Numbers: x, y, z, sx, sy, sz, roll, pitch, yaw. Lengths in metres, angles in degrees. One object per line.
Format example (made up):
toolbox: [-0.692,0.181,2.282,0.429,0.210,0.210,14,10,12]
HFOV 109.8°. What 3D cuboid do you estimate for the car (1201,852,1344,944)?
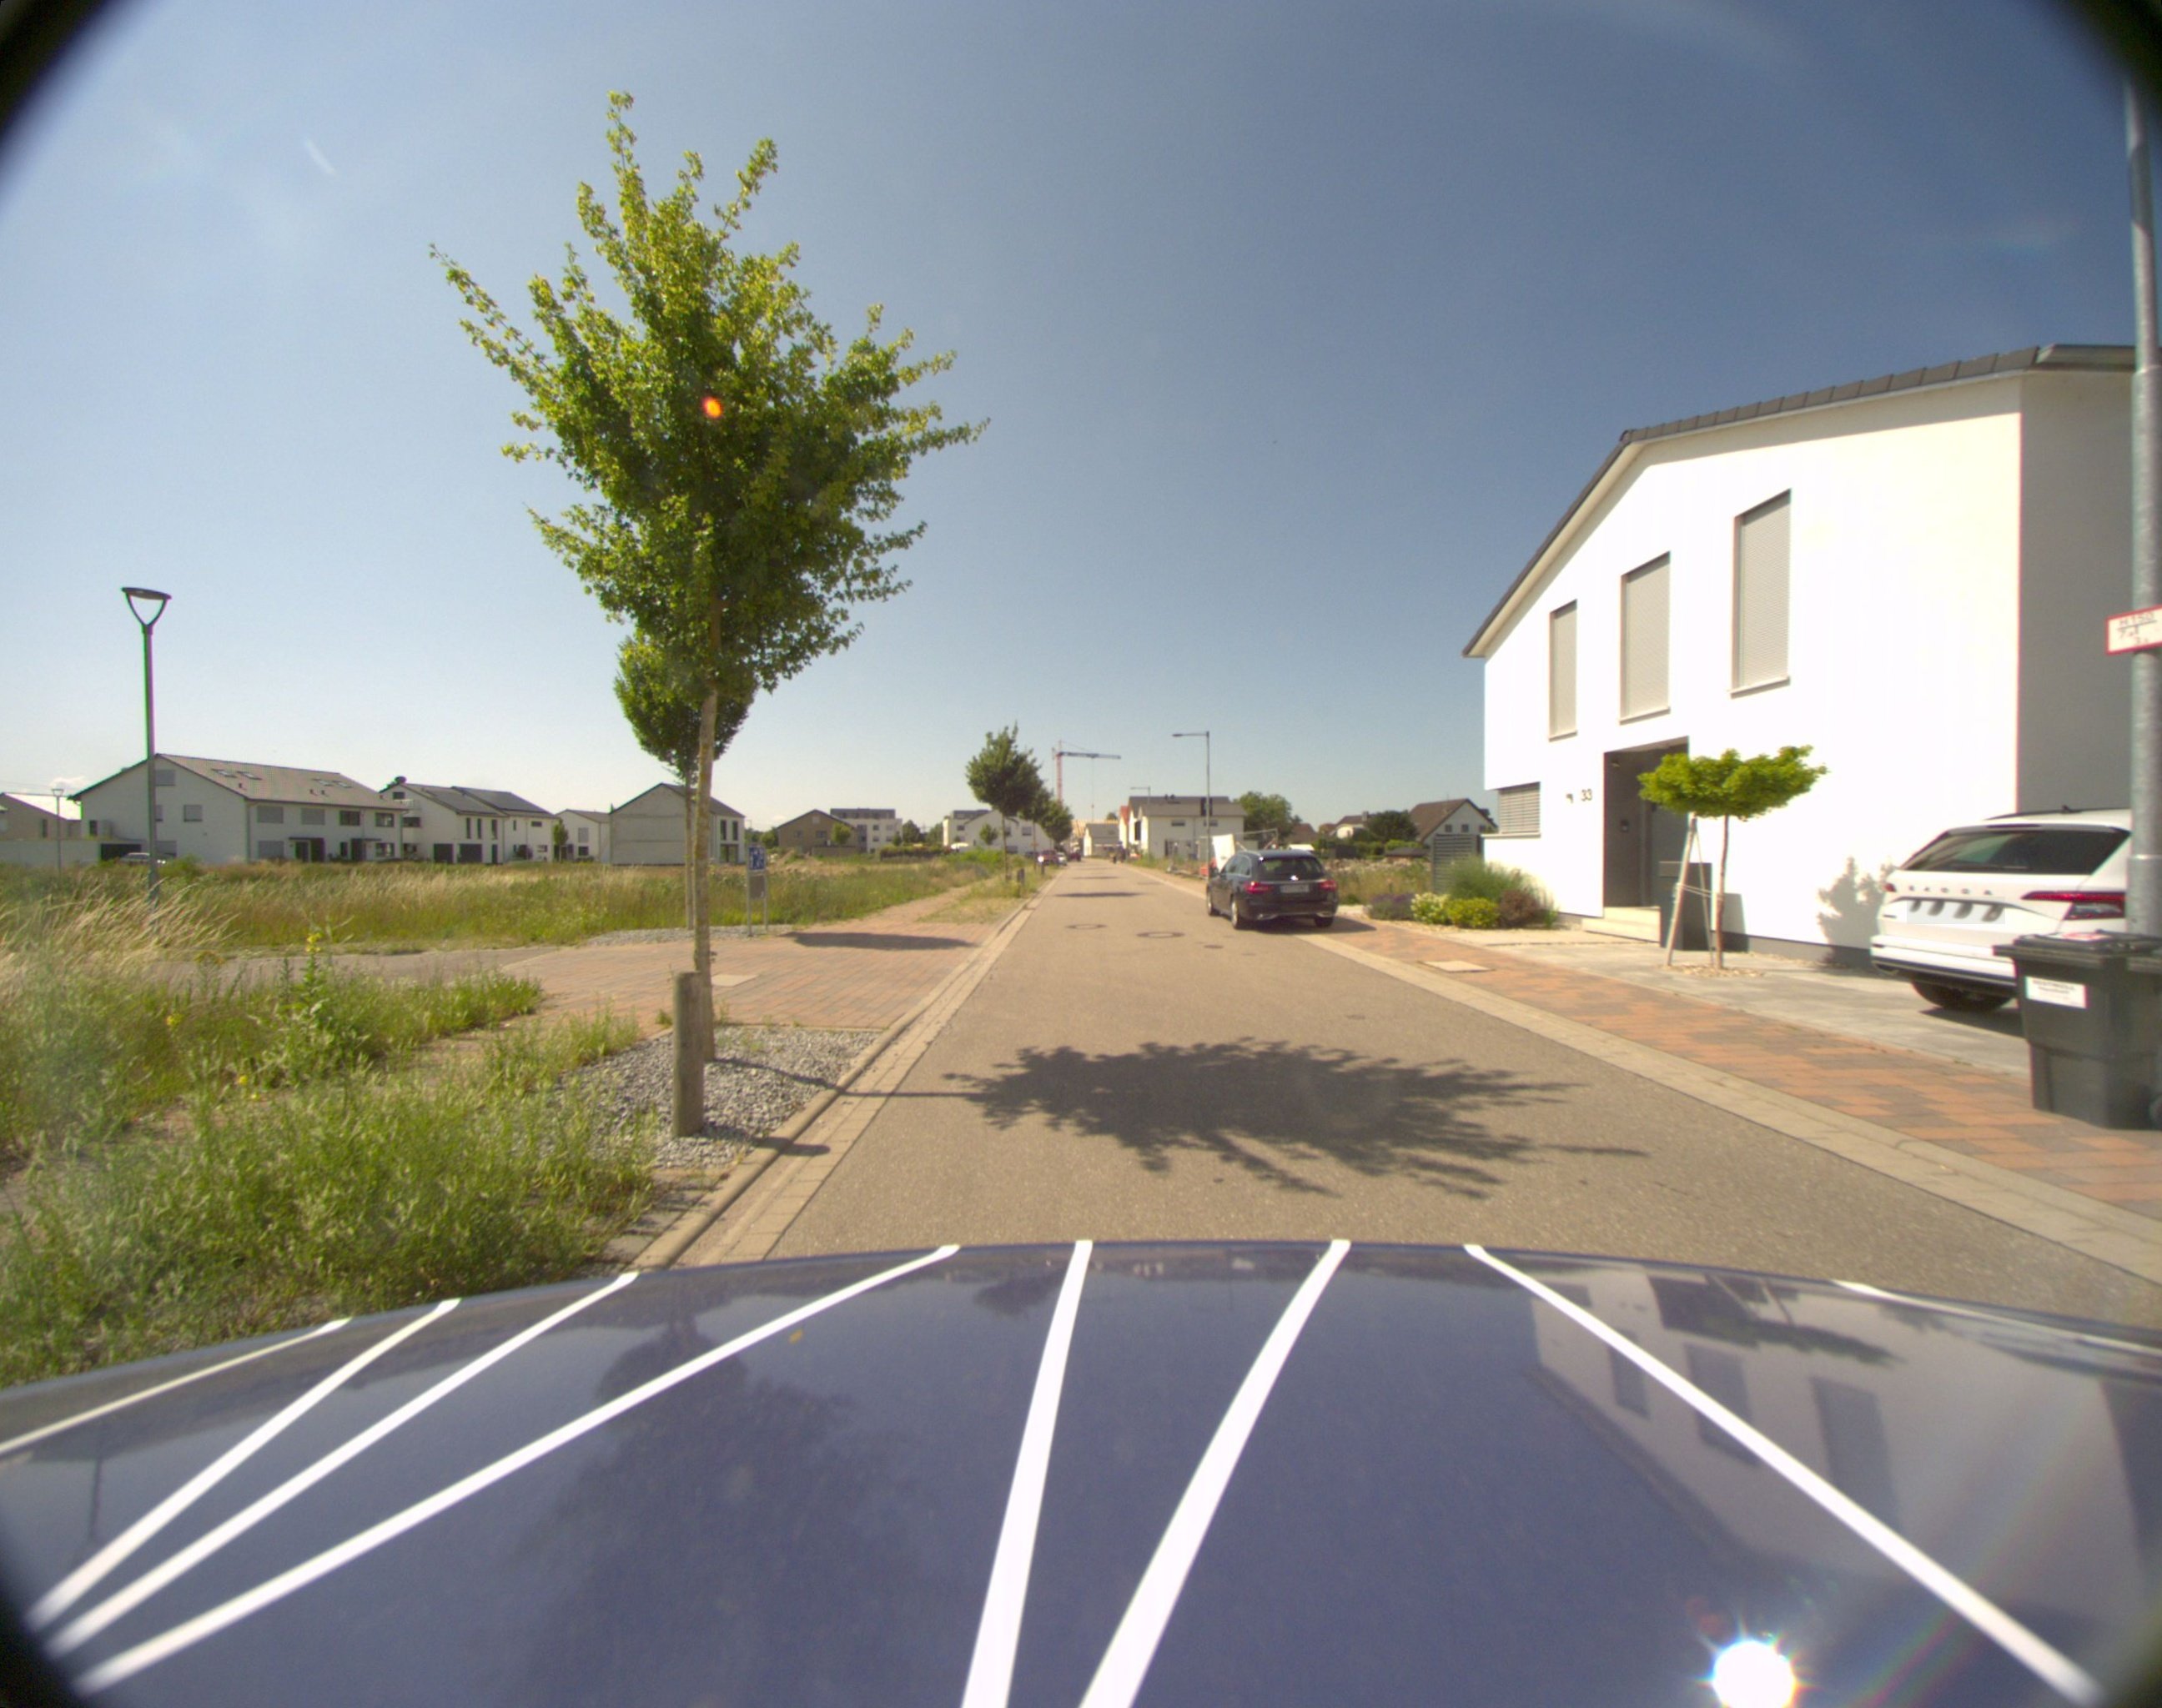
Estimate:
car: [3.580,0.735,15.053,1.695,1.464,4.444,-2,1,0]

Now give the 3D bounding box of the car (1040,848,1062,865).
car: [-2.637,0.208,66.953,1.769,1.483,3.999,-1,1,0]

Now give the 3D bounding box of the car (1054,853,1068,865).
car: [-2.221,0.567,86.645,1.493,1.389,3.272,-1,1,0]

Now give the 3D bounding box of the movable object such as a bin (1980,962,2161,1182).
movable object such as a bin: [4.976,1.032,3.732,0.487,0.920,0.530,-1,1,-3]

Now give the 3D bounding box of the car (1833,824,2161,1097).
car: [8.094,0.583,5.161,3.962,1.610,1.795,-1,1,7]

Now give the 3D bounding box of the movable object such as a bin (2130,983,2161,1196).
movable object such as a bin: [4.997,1.041,3.175,0.487,0.920,0.530,-1,1,-3]
